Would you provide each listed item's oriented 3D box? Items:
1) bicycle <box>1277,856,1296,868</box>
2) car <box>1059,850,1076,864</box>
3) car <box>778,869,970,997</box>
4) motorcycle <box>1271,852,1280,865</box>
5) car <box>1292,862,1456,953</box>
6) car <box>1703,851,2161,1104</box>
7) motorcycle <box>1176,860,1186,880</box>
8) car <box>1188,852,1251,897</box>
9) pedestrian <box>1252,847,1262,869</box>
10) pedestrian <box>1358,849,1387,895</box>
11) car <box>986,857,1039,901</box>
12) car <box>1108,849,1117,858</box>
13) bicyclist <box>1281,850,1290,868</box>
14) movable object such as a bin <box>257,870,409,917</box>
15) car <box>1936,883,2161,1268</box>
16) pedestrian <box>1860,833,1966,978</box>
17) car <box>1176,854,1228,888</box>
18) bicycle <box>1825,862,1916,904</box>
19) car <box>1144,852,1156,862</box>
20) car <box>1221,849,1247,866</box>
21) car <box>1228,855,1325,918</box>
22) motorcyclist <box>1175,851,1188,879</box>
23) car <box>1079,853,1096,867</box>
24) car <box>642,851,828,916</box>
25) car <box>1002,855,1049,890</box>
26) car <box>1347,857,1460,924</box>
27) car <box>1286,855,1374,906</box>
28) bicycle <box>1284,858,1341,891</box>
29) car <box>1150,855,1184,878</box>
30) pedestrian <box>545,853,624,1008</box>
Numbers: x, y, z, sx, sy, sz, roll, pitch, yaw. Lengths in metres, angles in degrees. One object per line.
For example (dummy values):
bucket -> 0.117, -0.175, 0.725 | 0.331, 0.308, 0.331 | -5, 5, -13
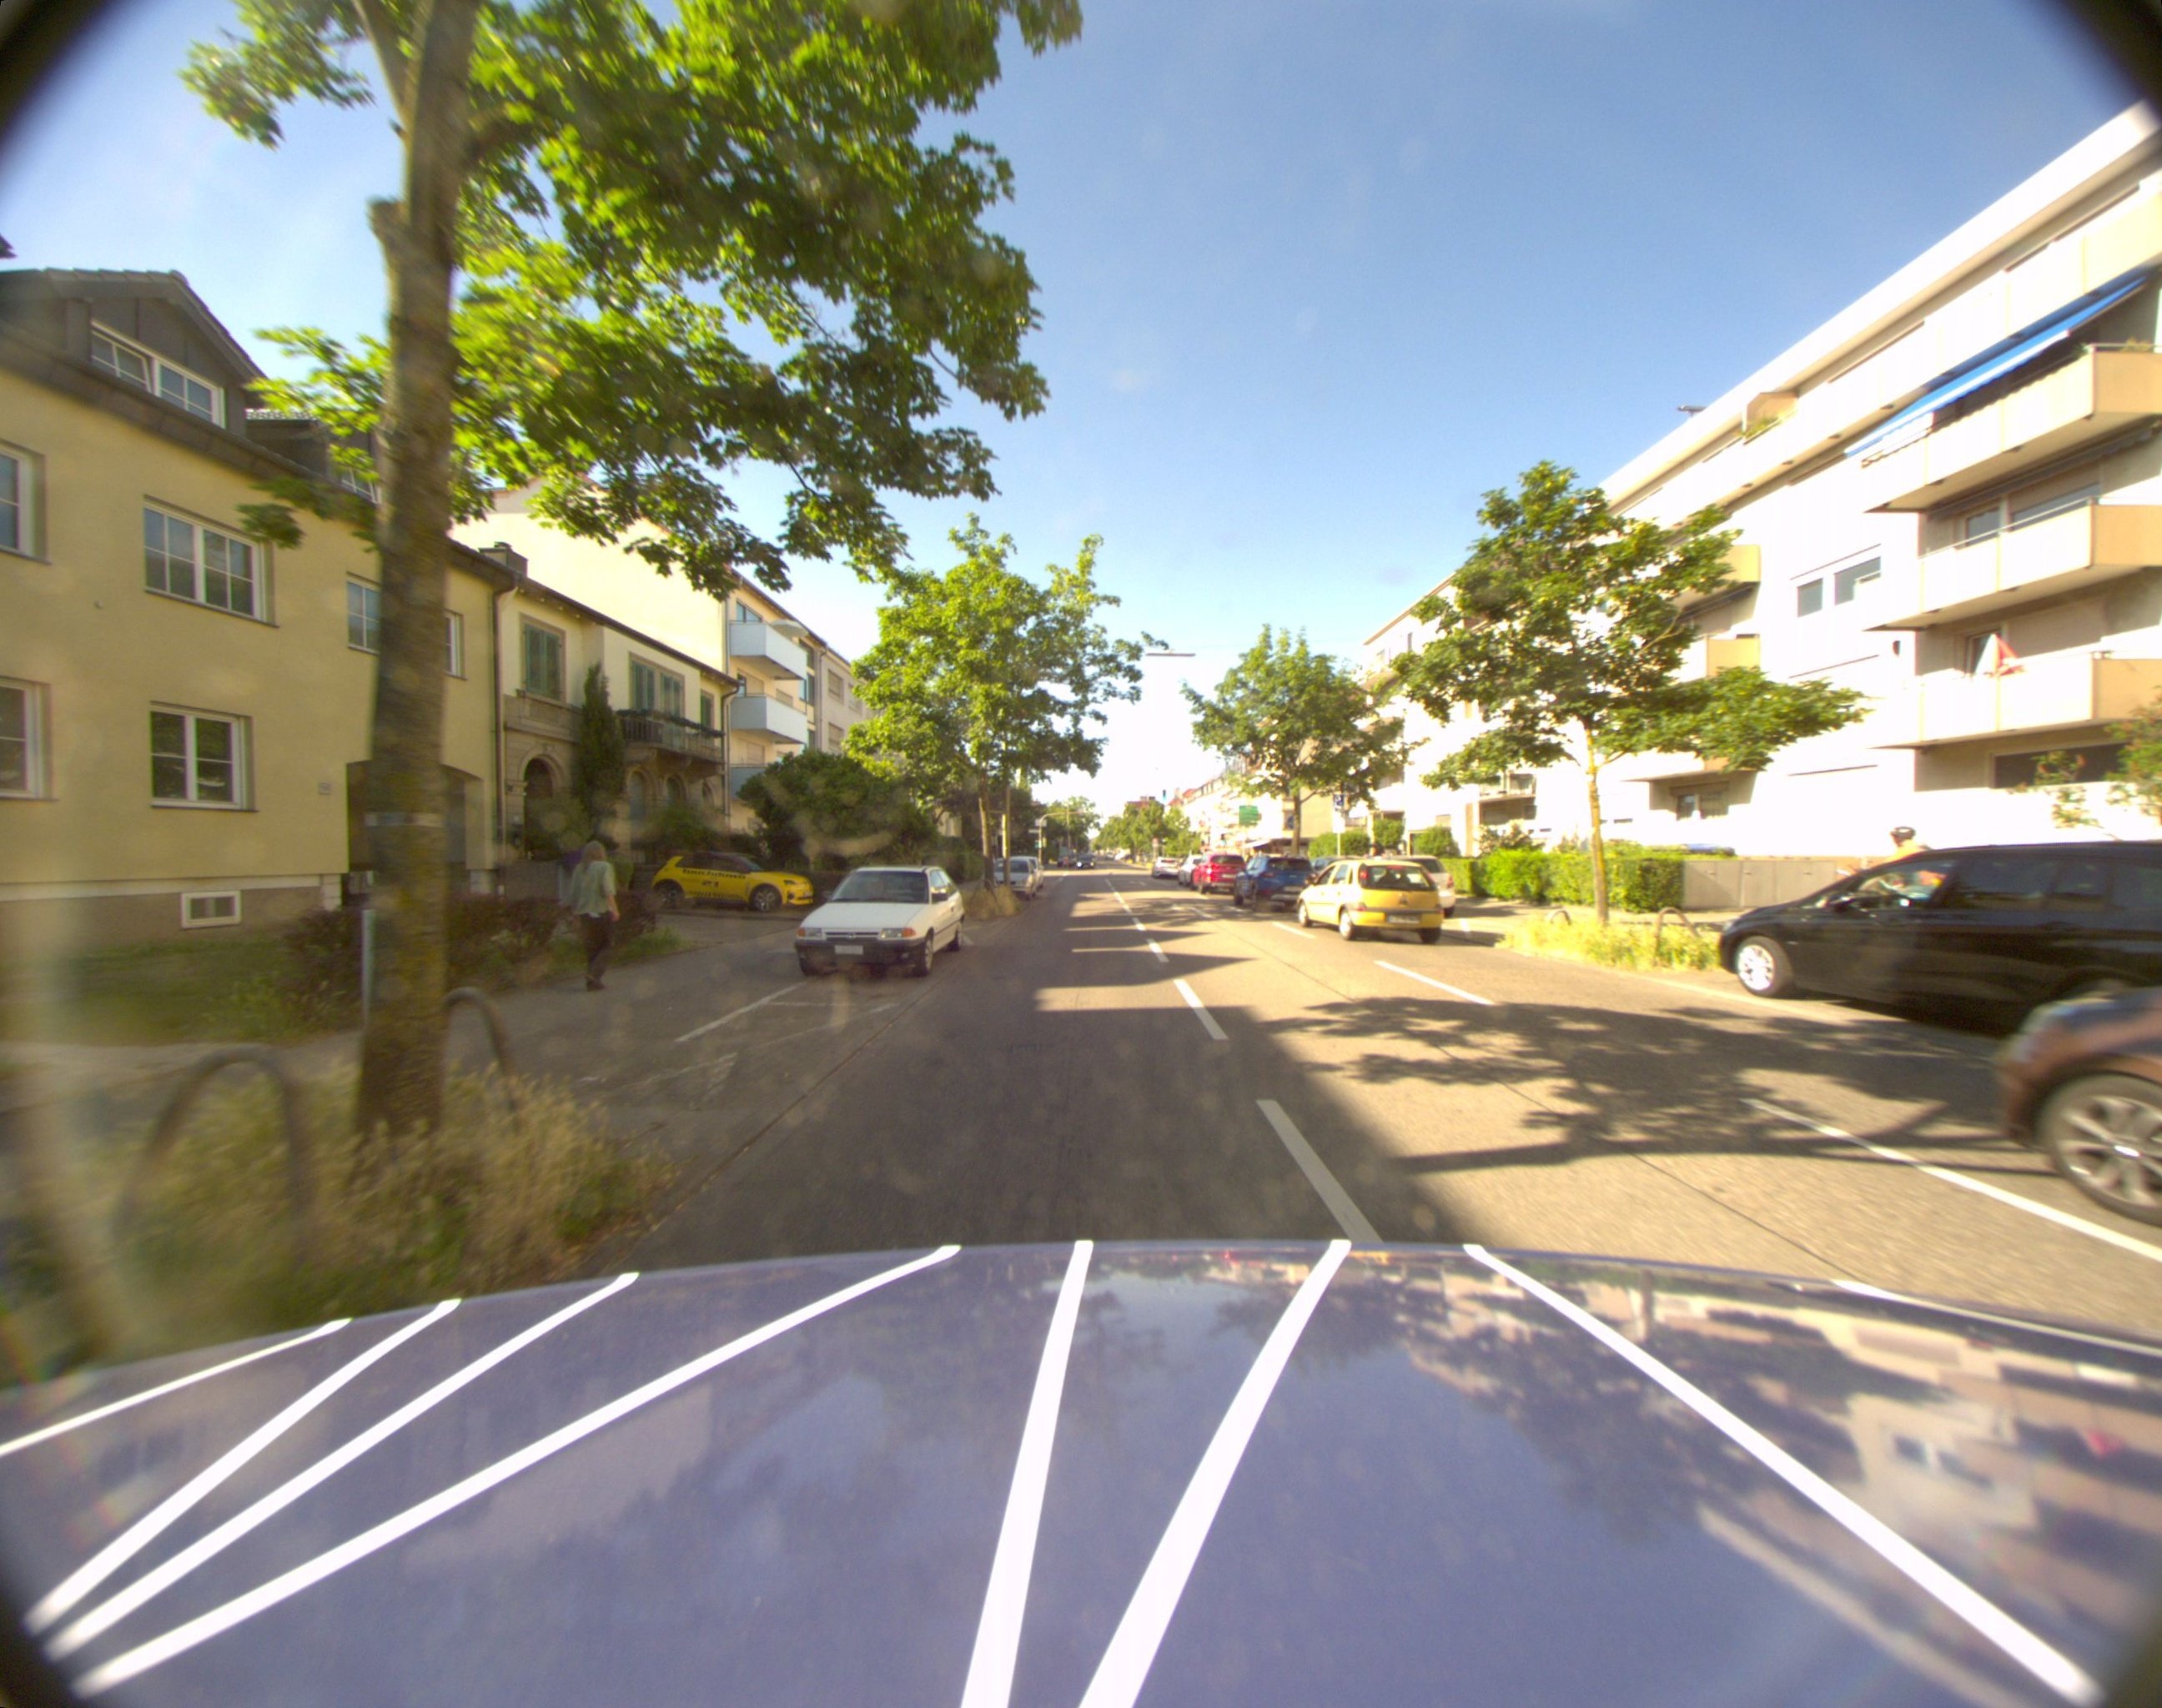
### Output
bicycle -> 17.971, 0.683, 66.513 | 1.565, 1.070, 0.449 | -1, 1, -1
car -> -1.600, 0.346, 88.951 | 1.822, 1.542, 4.304 | 0, 1, 1
car -> -2.739, 0.974, 10.969 | 1.653, 1.395, 3.969 | 1, 0, 0
motorcycle -> 20.426, 0.486, 79.964 | 0.570, 1.360, 1.763 | 0, 0, 3
car -> 5.333, 0.898, 14.351 | 1.638, 1.395, 3.736 | 1, 0, 0
car -> 7.931, 0.807, 6.504 | 1.674, 1.596, 4.394 | -2, 0, 1
motorcycle -> 6.041, 0.948, 45.987 | 0.449, 1.115, 1.933 | 2, 1, 5
car -> 5.373, 0.748, 29.918 | 1.726, 1.607, 4.300 | 2, 0, 1
pedestrian -> 13.443, 0.273, 57.976 | 0.659, 1.649, 0.682 | 0, 1, 2
pedestrian -> 10.934, 0.668, 28.515 | 0.671, 1.677, 0.929 | -1, 1, 0
car -> -2.426, 0.857, 27.652 | 1.571, 1.448, 3.865 | 1, 1, 0
car -> 7.405, -0.167, 177.976 | 1.966, 1.911, 5.496 | 0, 1, 1
bicyclist -> 17.909, 0.425, 66.503 | 0.685, 1.598, 0.578 | -1, 1, -1
movable object such as a bin -> -15.987, 0.831, 16.318 | 1.780, 0.889, 1.488 | 1, 1, -2
car -> 4.958, 0.899, 1.806 | 1.585, 1.443, 3.744 | 2, 0, 0
pedestrian -> 9.846, 0.586, 9.016 | 0.470, 1.641, 0.719 | -2, 1, 1
car -> 5.842, 0.784, 37.107 | 1.818, 1.456, 4.778 | 1, 1, 1
bicycle -> 19.018, 0.687, 18.354 | 0.482, 0.935, 1.655 | 1, 0, 1
car -> 8.814, 0.372, 96.763 | 1.322, 1.348, 3.093 | 0, 1, 1
car -> 14.710, 0.336, 73.146 | 1.764, 1.613, 4.304 | 0, 1, 1
car -> 5.382, 0.825, 21.385 | 1.660, 1.508, 4.076 | 2, 0, 1
motorcyclist -> 6.077, 0.675, 45.979 | 0.730, 1.637, 0.918 | 2, 1, 6
car -> 0.656, 0.633, 78.245 | 1.654, 1.348, 4.304 | 0, 1, 1
car -> -8.987, 0.734, 19.980 | 3.997, 1.433, 1.831 | 3, 1, 1
car -> -2.486, 0.793, 34.959 | 1.743, 1.473, 4.196 | 1, 1, 1
car -> 8.100, 0.848, 19.402 | 1.404, 1.480, 3.685 | -1, 0, 2
car -> 7.978, 0.803, 24.686 | 1.508, 1.467, 3.895 | -1, 0, -1
bicycle -> 8.343, 0.731, 27.427 | 1.831, 1.080, 0.560 | -3, 1, 0
car -> 5.710, 0.811, 50.943 | 1.702, 1.398, 4.505 | 2, 1, 0
pedestrian -> -5.491, 0.821, 8.426 | 0.539, 1.667, 0.493 | 0, 1, 1
